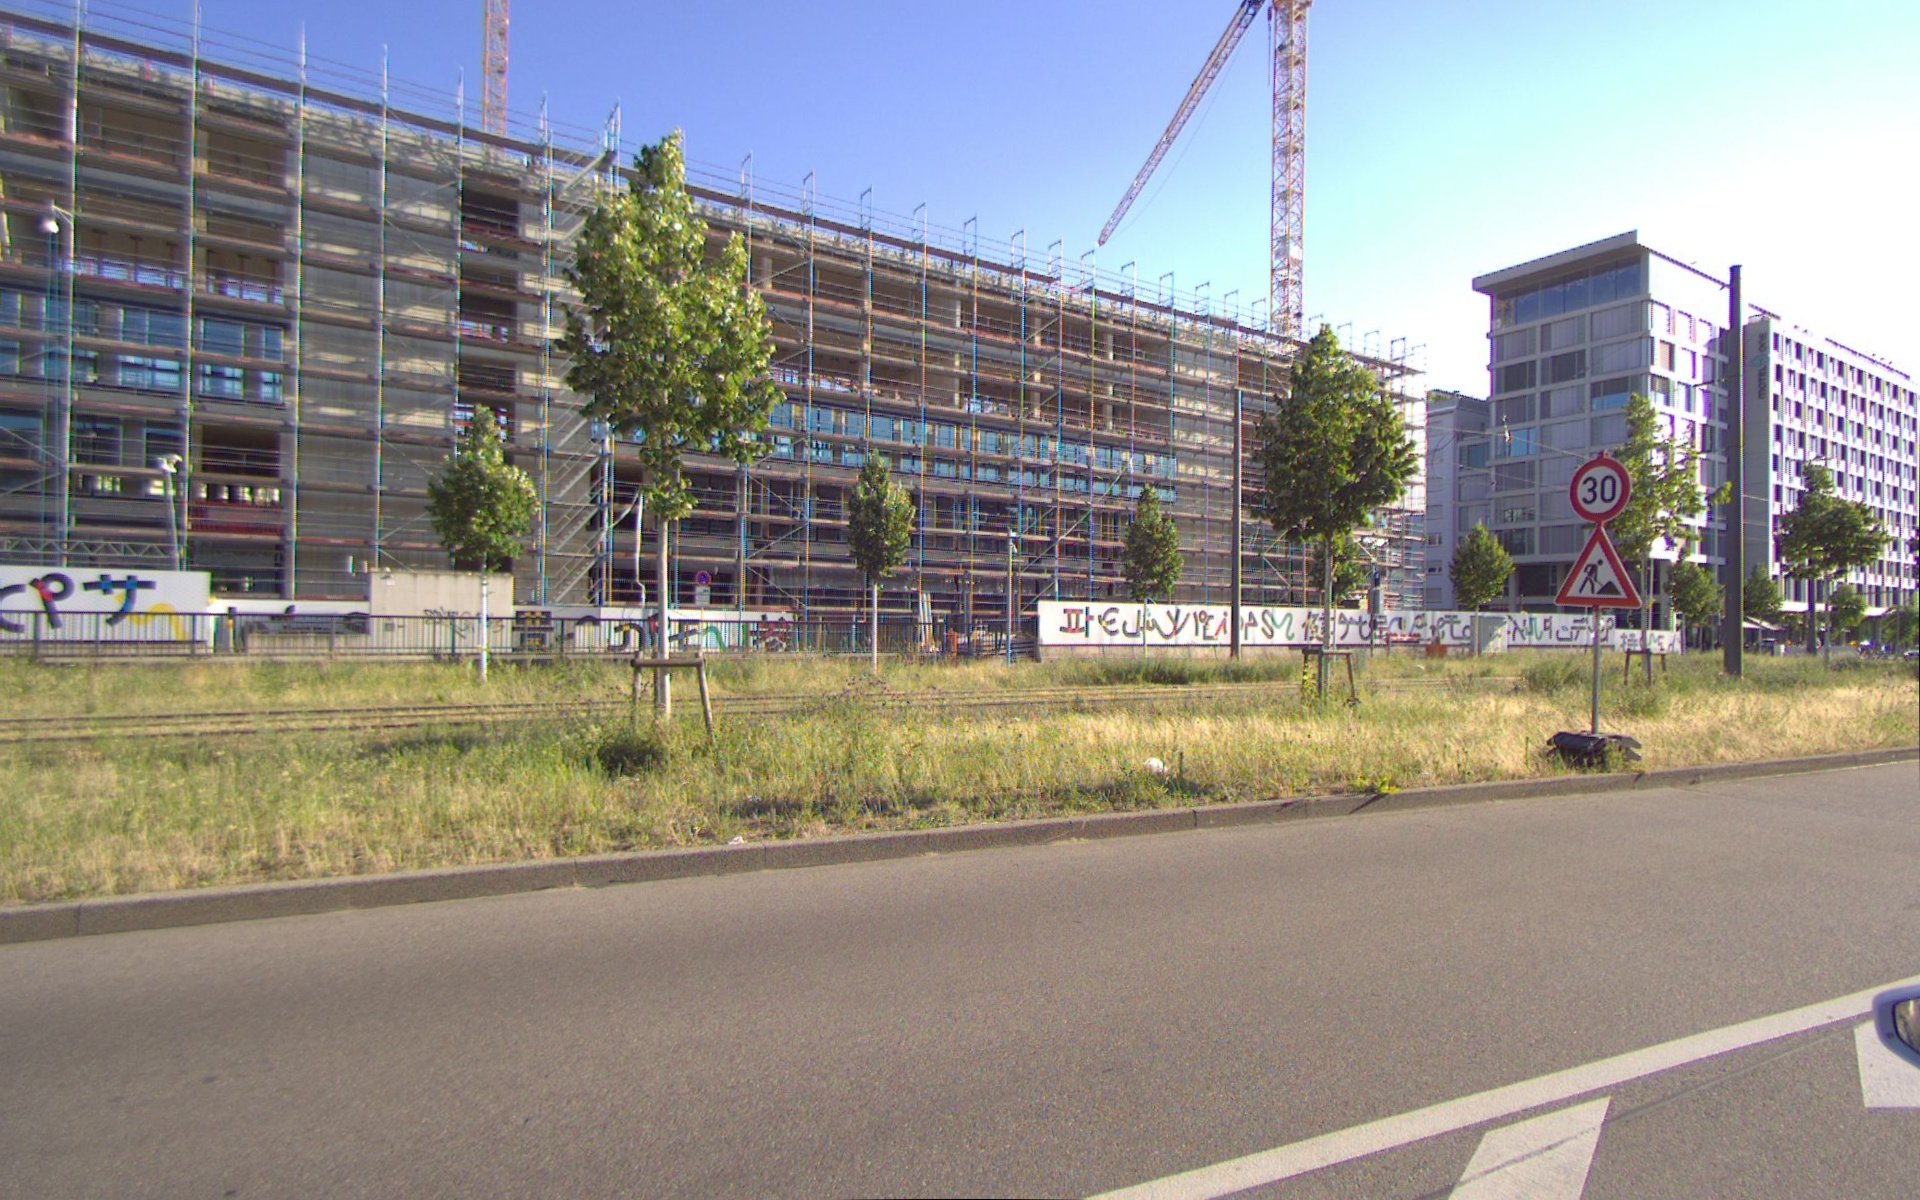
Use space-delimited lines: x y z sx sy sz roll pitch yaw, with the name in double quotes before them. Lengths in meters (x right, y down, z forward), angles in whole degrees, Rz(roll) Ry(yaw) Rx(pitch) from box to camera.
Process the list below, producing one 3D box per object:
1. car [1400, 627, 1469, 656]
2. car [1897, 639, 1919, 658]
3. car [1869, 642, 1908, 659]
"car" 25.538 2.233 54.074 3.543 1.461 1.699 2 0 -32
"car" 79.100 3.994 82.892 3.543 1.461 1.699 2 0 -32
"car" 84.032 4.570 90.888 3.543 1.461 1.699 2 0 -32
